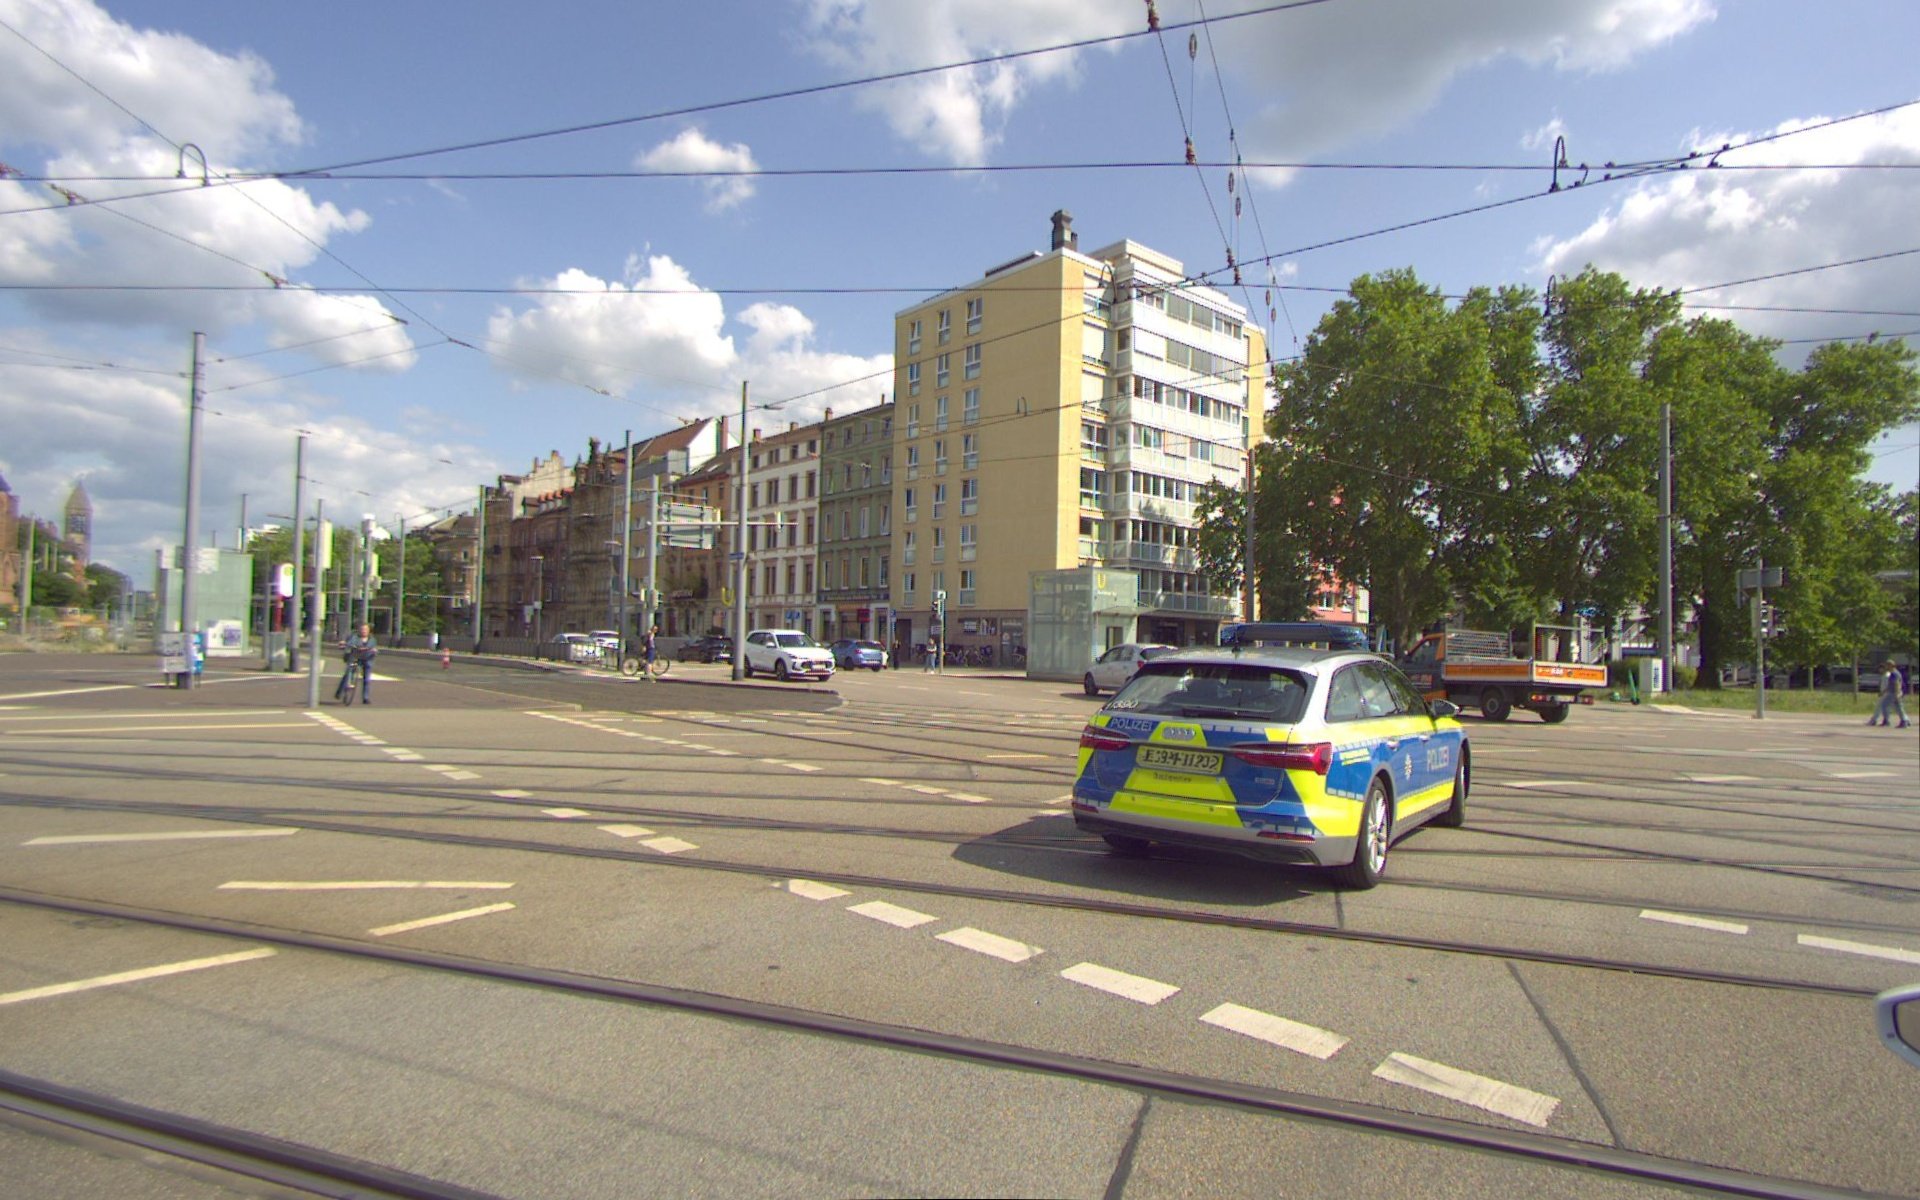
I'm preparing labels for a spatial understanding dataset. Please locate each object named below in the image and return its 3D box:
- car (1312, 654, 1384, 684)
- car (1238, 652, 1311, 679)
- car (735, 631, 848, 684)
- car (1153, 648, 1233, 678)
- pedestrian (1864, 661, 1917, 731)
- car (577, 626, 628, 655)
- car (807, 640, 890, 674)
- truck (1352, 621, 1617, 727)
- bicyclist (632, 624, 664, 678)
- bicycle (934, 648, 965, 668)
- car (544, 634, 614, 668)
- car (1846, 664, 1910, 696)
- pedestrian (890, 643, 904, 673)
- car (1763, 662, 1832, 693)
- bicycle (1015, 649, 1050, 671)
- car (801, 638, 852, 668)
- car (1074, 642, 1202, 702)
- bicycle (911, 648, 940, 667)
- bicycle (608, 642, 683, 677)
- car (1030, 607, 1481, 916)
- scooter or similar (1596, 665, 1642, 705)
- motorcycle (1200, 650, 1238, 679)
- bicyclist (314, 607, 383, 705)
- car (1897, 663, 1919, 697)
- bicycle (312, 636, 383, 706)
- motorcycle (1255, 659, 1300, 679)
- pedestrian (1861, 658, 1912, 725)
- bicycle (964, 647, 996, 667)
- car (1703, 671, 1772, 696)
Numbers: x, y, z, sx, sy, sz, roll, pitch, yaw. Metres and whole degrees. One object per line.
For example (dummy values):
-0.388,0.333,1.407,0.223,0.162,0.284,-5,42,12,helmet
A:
20.731,3.695,53.589,3.968,1.431,1.890,5,-5,-39,car
19.256,3.985,61.633,1.790,1.514,3.951,4,-3,-42,car
-5.720,1.912,33.807,2.024,1.660,4.243,3,-3,-37,car
12.525,3.383,54.230,1.661,1.416,3.950,5,-4,-42,car
24.696,2.530,26.667,0.911,1.766,0.587,2,-1,36,pedestrian
-22.172,2.503,62.144,2.024,1.599,4.499,3,-2,-32,car
-5.153,2.621,46.198,1.731,1.394,3.948,4,-3,-44,car
12.139,1.683,23.869,2.307,2.183,5.836,2,-3,-14,truck
-10.903,1.780,35.083,0.769,1.821,0.706,2,-1,45,bicyclist
-0.652,3.506,60.669,1.785,1.118,0.792,0,-3,44,bicycle
-18.557,2.457,48.837,1.983,1.548,4.048,3,-3,-39,car
59.568,5.185,65.161,4.185,1.962,1.957,4,-5,-32,car
-3.370,3.082,53.509,0.547,1.554,0.697,2,-3,-19,pedestrian
58.026,5.372,69.605,5.007,1.962,1.960,4,-5,-28,car
3.981,3.312,55.291,1.785,1.118,0.792,0,-3,44,bicycle
-7.303,2.937,55.257,1.861,1.516,3.904,2,-3,6,car
4.717,1.900,27.185,1.824,1.494,3.987,2,-3,-16,car
-2.137,3.536,62.060,1.785,1.118,0.792,0,-3,44,bicycle
-10.952,2.069,35.050,0.877,1.153,2.344,2,-2,43,bicycle
2.542,0.953,7.618,1.855,1.588,4.600,0,-3,36,car
21.565,2.766,32.892,0.395,1.209,1.165,3,-1,-32,scooter or similar
11.877,2.948,46.086,0.889,1.254,2.215,1,-2,-9,motorcycle
-11.366,1.047,18.723,0.983,1.753,1.291,3,-3,-30,bicyclist
60.538,5.010,62.679,4.185,2.039,1.983,4,-5,-32,car
-11.313,1.295,18.623,0.983,1.204,2.283,3,-4,-29,bicycle
15.576,3.386,49.346,2.003,0.929,0.812,0,-2,10,motorcycle
25.407,2.495,27.545,0.911,1.766,0.587,2,-1,35,pedestrian
1.140,3.336,58.734,1.785,1.118,0.792,0,-3,44,bicycle
61.307,6.590,79.241,1.814,1.813,3.984,3,-4,-19,car
